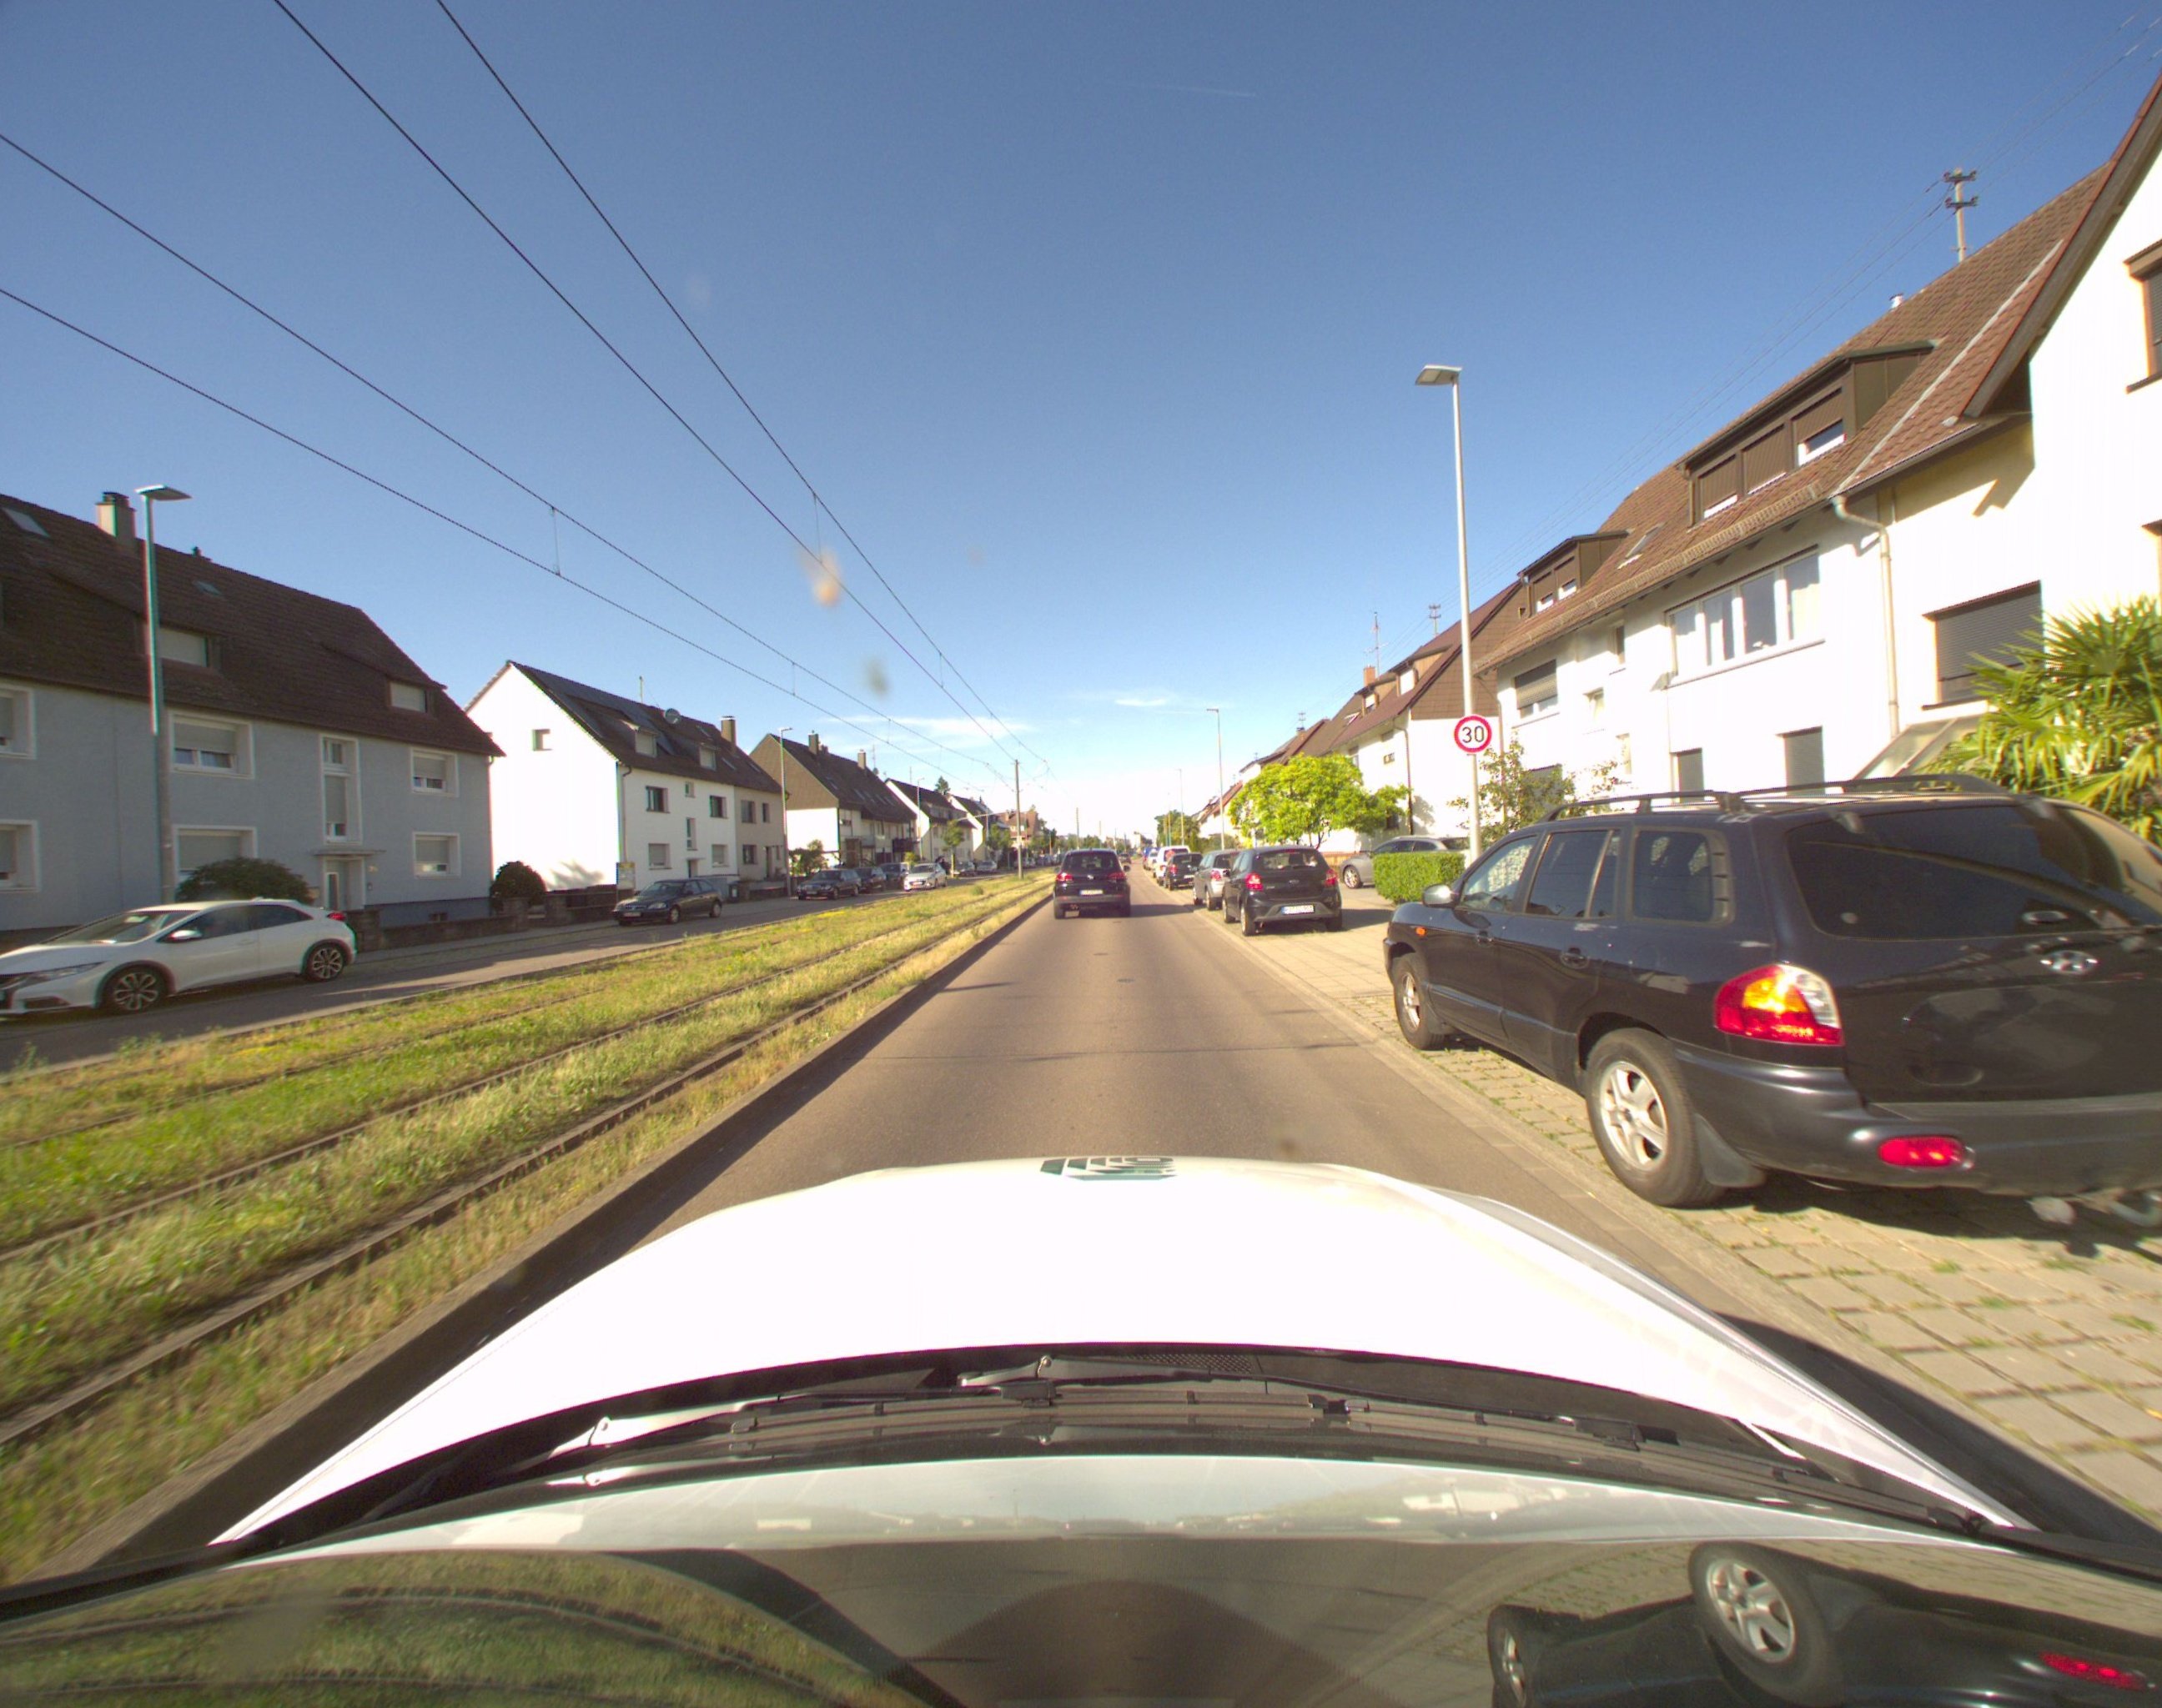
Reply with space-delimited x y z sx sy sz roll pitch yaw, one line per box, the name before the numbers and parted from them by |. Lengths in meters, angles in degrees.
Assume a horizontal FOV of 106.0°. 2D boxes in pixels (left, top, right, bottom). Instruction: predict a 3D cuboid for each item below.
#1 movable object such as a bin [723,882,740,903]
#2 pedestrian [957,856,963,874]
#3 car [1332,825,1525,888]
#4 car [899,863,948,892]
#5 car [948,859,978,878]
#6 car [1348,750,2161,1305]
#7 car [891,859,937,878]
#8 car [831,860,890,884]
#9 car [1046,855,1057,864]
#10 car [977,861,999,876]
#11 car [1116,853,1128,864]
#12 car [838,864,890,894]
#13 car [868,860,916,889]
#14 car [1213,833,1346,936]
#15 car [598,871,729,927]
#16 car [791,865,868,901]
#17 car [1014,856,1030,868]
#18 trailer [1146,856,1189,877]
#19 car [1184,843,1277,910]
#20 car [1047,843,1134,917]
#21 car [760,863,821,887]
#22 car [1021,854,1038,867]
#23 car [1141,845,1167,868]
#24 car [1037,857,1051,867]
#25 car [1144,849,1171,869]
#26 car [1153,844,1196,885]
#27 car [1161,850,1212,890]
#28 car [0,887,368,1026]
movable object such as a bin | -15.610 1.705 36.366 0.387 0.927 0.704 -3 -2 1
pedestrian | -11.726 1.093 78.970 0.466 1.746 0.536 -3 0 2
car | 9.437 0.101 22.620 2.002 1.445 4.844 -4 0 -23
car | -8.709 1.301 45.369 1.701 1.490 4.027 -3 -2 3
car | -10.526 1.265 72.586 1.610 1.453 3.726 -3 0 7
car | 3.191 0.515 4.749 1.847 1.659 4.475 -3 0 2
car | -15.578 1.353 76.164 3.895 1.568 1.732 -3 0 -5
car | -17.626 1.422 65.219 4.154 1.616 1.758 -3 0 -2
car | -4.933 0.889 136.176 1.509 1.361 3.592 -3 0 2
car | -9.681 1.532 85.379 1.612 1.409 3.720 -3 -2 3
car | 5.596 0.570 110.583 1.566 1.391 3.617 -3 0 3
car | -12.121 1.371 45.719 1.514 1.475 4.204 -2 0 3
car | -11.820 1.265 51.237 1.797 1.597 4.811 -3 0 0
car | 3.555 0.496 15.238 1.659 1.547 3.839 -5 0 3
car | -13.125 1.362 25.911 1.783 1.462 4.170 -3 0 3
car | -12.404 1.394 40.457 1.868 1.523 4.887 -2 0 5
car | -7.818 1.081 108.362 1.652 1.496 3.582 -3 0 3
trailer | 5.193 0.720 49.478 2.196 1.093 4.373 -4 0 2
car | 3.804 0.544 21.380 1.610 1.475 4.450 -3 0 1
car | 0.137 0.609 20.778 1.809 1.671 4.250 -1 -1 -5
car | -23.304 1.689 65.456 4.138 1.654 1.860 -3 0 5
car | -7.256 0.914 114.637 1.796 1.631 4.004 -3 0 3
car | 6.455 0.191 72.570 1.985 1.862 4.921 -3 0 3
car | -5.951 1.307 130.815 1.653 1.581 4.003 -3 -2 3
car | 6.186 0.390 66.197 1.780 1.441 4.460 -4 0 1
car | 4.456 0.460 39.258 1.683 1.776 4.659 -3 0 3
car | 4.253 0.616 33.406 1.664 1.453 4.128 -3 0 3
car | -13.517 1.383 12.222 1.685 1.518 4.218 -3 0 3
